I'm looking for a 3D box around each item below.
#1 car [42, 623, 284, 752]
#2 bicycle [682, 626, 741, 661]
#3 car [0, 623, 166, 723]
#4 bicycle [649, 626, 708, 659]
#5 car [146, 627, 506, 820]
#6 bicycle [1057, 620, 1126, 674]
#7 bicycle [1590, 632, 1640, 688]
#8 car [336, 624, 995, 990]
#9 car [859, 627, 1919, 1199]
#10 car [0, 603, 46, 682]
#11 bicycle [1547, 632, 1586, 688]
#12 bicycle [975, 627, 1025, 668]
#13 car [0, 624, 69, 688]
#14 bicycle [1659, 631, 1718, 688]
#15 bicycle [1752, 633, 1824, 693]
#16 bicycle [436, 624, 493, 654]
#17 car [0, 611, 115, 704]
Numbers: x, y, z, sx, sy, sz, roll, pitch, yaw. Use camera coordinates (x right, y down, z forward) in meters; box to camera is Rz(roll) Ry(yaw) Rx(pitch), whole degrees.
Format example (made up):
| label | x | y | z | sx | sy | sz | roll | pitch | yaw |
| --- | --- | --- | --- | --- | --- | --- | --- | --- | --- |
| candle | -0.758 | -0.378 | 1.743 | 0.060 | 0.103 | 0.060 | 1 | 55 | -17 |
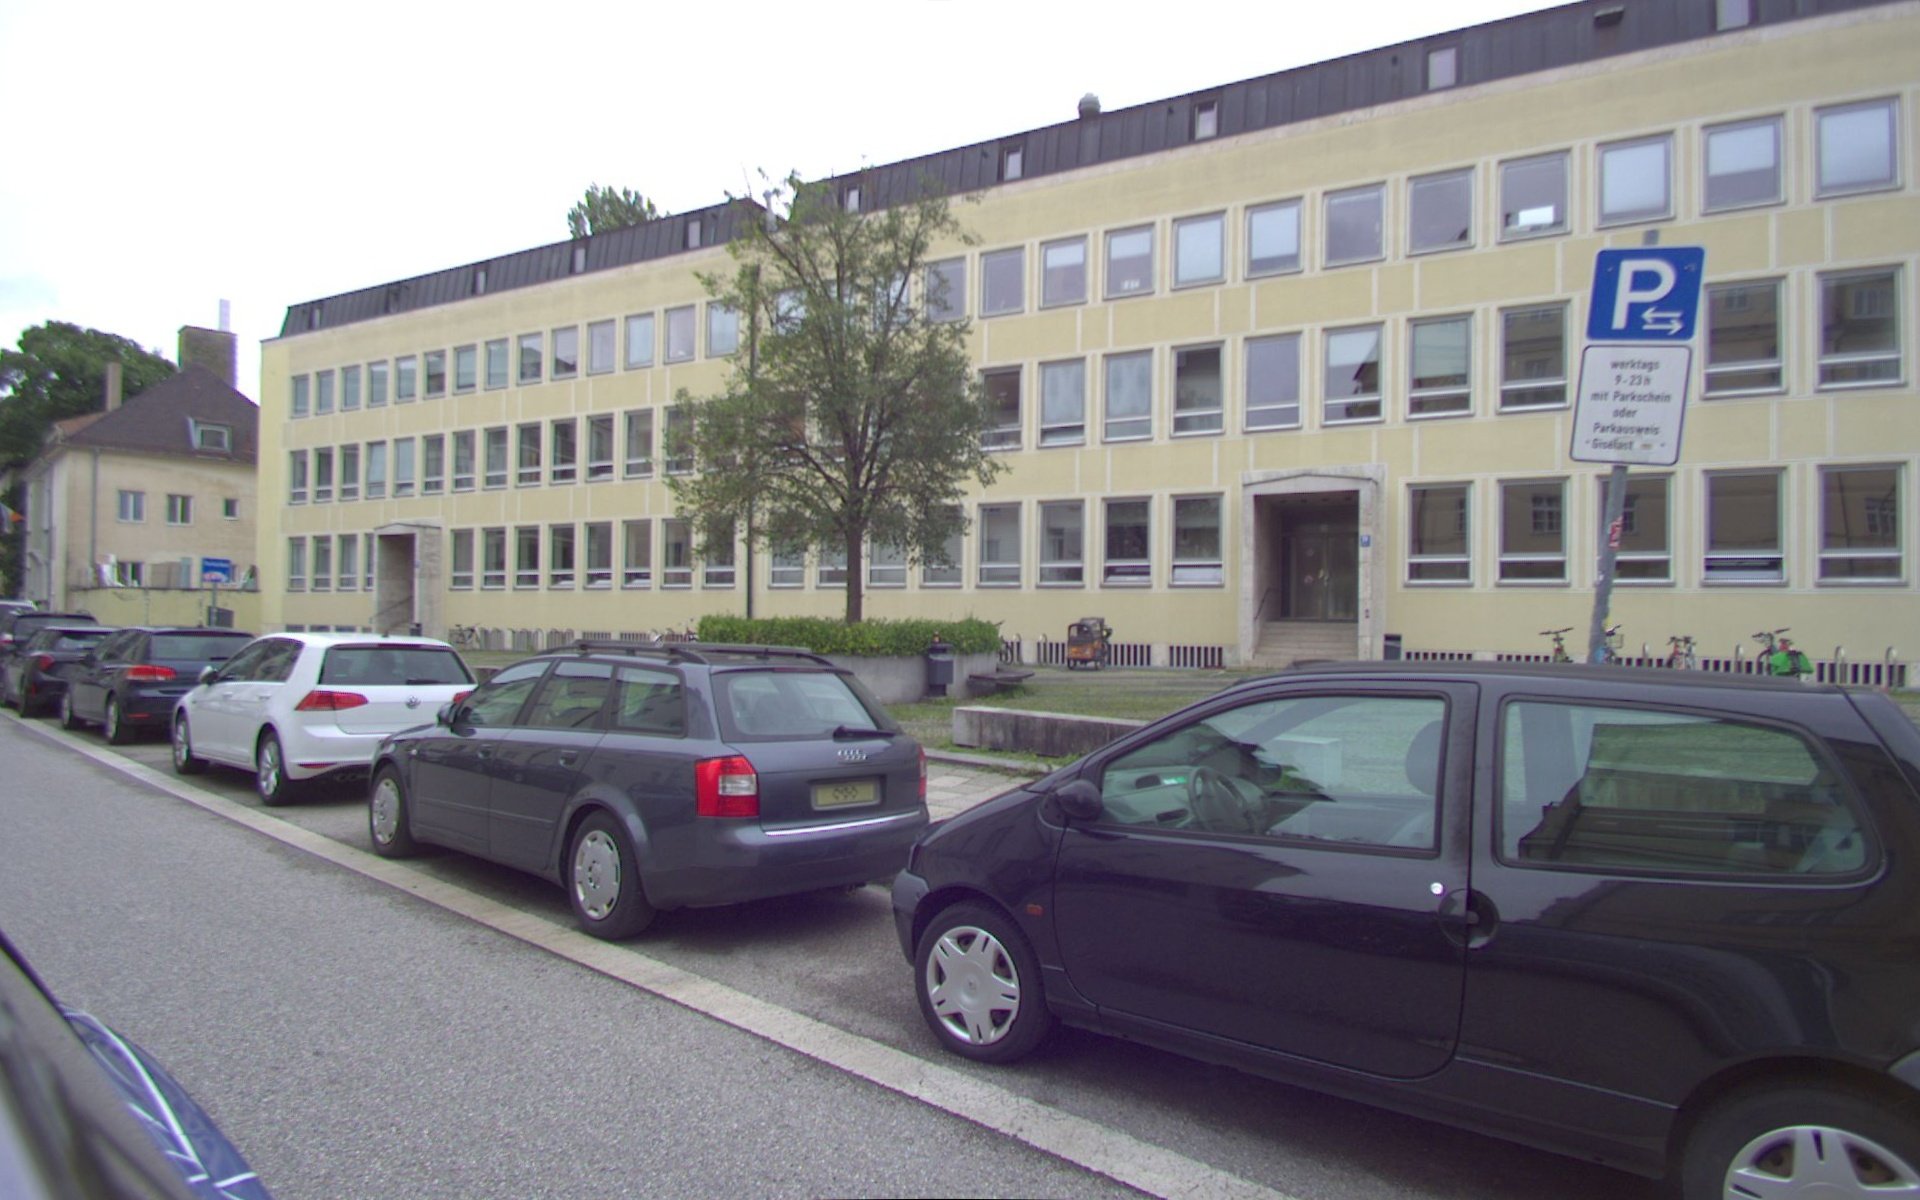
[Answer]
| label | x | y | z | sx | sy | sz | roll | pitch | yaw |
| --- | --- | --- | --- | --- | --- | --- | --- | --- | --- |
| car | -10.748 | 1.074 | 13.559 | 3.969 | 1.465 | 1.640 | -1 | -3 | 39 |
| bicycle | -7.707 | 1.333 | 31.488 | 0.623 | 1.022 | 1.932 | -1 | -1 | 31 |
| car | -14.718 | 1.135 | 16.791 | 3.867 | 1.465 | 1.663 | -1 | -3 | 41 |
| bicycle | -8.937 | 1.336 | 32.221 | 0.623 | 1.022 | 1.932 | -1 | -1 | 31 |
| car | -6.211 | 1.026 | 9.744 | 4.068 | 1.465 | 1.640 | -1 | -3 | 39 |
| bicycle | 3.294 | 1.128 | 25.160 | 1.050 | 1.258 | 2.422 | -1 | -1 | 24 |
| bicycle | 12.817 | 1.153 | 19.845 | 0.622 | 1.022 | 1.935 | -1 | -1 | 27 |
| car | -2.046 | 0.915 | 6.218 | 4.393 | 1.465 | 1.737 | -1 | -3 | 41 |
| car | 1.436 | 0.855 | 3.352 | 3.308 | 1.465 | 1.640 | -1 | -3 | 39 |
| car | -26.250 | 1.081 | 27.037 | 5.017 | 1.994 | 1.909 | -1 | -3 | 39 |
| bicycle | 12.030 | 1.167 | 20.109 | 0.623 | 1.022 | 1.933 | -1 | -1 | 30 |
| bicycle | 1.063 | 1.219 | 26.533 | 0.622 | 1.022 | 1.937 | -1 | -1 | 24 |
| car | -22.608 | 1.285 | 24.022 | 3.917 | 1.398 | 1.725 | -1 | -1 | 42 |
| bicycle | 14.049 | 1.115 | 19.556 | 0.622 | 1.022 | 1.935 | -1 | -1 | 27 |
| bicycle | 15.240 | 1.137 | 18.670 | 0.622 | 1.022 | 1.935 | -1 | -1 | 27 |
| bicycle | -17.823 | 1.396 | 36.476 | 0.577 | 1.022 | 1.937 | -1 | 0 | 24 |
| car | -18.592 | 1.124 | 20.292 | 4.446 | 1.679 | 1.725 | -1 | -5 | 41 |
